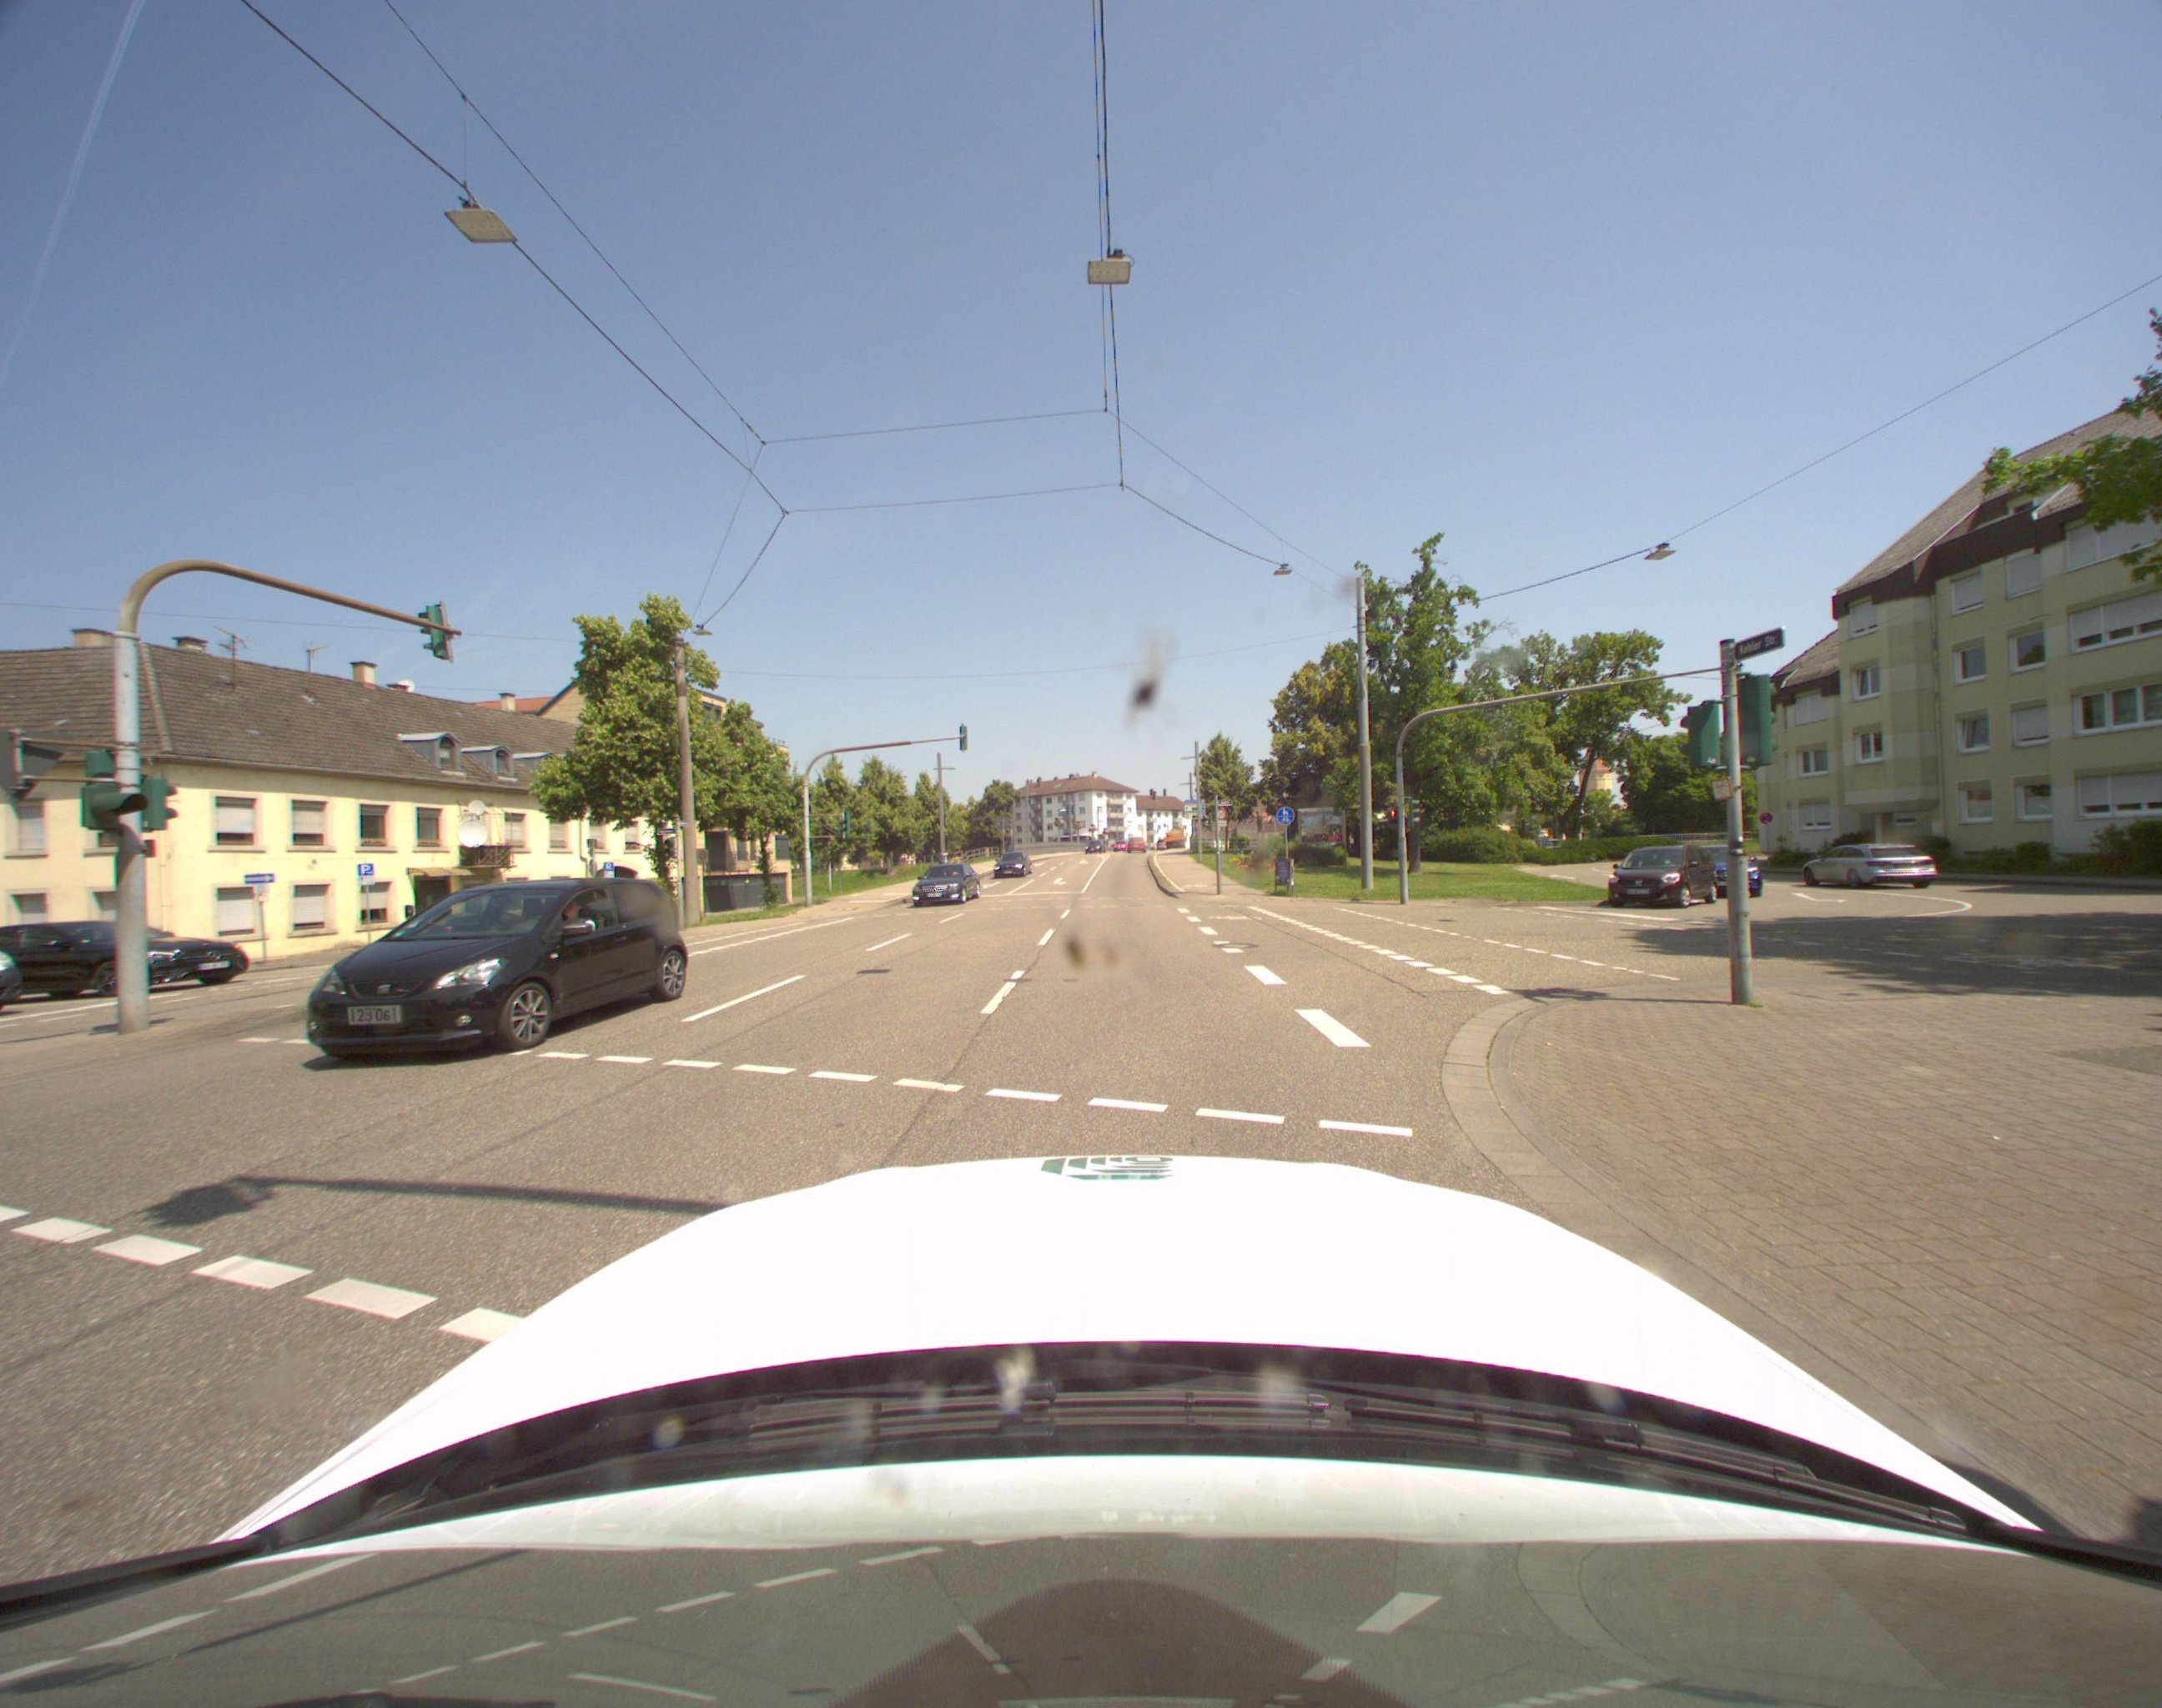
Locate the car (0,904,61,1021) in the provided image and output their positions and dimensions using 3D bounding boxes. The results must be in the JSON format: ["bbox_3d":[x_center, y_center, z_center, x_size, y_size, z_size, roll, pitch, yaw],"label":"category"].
[{"bbox_3d":[-18.321,1.814,12.146,3.674,1.735,1.894,-5,0,0],"label":"car"}]

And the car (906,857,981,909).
[{"bbox_3d":[-4.861,0.979,29.368,1.749,1.560,4.320,-2,1,2],"label":"car"}]

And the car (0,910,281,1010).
[{"bbox_3d":[-18.783,2.035,15.604,4.593,1.401,2.115,-5,0,-2],"label":"car"}]

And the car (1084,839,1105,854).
[{"bbox_3d":[1.481,-0.791,88.699,1.704,1.485,4.041,-1,0,9],"label":"car"}]

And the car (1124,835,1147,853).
[{"bbox_3d":[5.491,-0.994,81.666,1.979,1.613,4.353,-3,0,8],"label":"car"}]

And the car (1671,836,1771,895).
[{"bbox_3d":[20.694,0.361,26.528,1.974,1.701,4.799,-3,-1,32],"label":"car"}]

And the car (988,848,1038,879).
[{"bbox_3d":[-3.868,0.516,47.084,1.826,1.399,4.060,-6,1,8],"label":"car"}]

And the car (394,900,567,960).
[{"bbox_3d":[-21.993,2.737,30.184,1.804,1.628,5.300,-5,-1,10],"label":"car"}]

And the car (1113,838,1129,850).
[{"bbox_3d":[5.267,-1.295,108.030,1.637,1.464,3.871,-2,-1,10],"label":"car"}]

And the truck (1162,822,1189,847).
[{"bbox_3d":[11.254,-2.278,96.695,2.589,2.691,5.840,-3,0,10],"label":"truck"}]

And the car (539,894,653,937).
[{"bbox_3d":[-20.978,2.607,35.452,1.765,1.432,4.442,-1,1,10],"label":"car"}]

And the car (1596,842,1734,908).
[{"bbox_3d":[16.158,0.521,22.436,4.843,1.632,1.895,-1,-1,-40],"label":"car"}]

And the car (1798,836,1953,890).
[{"bbox_3d":[25.690,0.271,26.588,1.877,1.499,4.553,-5,-2,21],"label":"car"}]

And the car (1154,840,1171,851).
[{"bbox_3d":[11.569,-1.227,115.364,2.026,1.503,4.429,-1,0,10],"label":"car"}]

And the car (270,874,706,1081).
[{"bbox_3d":[-5.520,1.016,8.261,1.610,1.455,3.710,-2,0,1],"label":"car"}]
